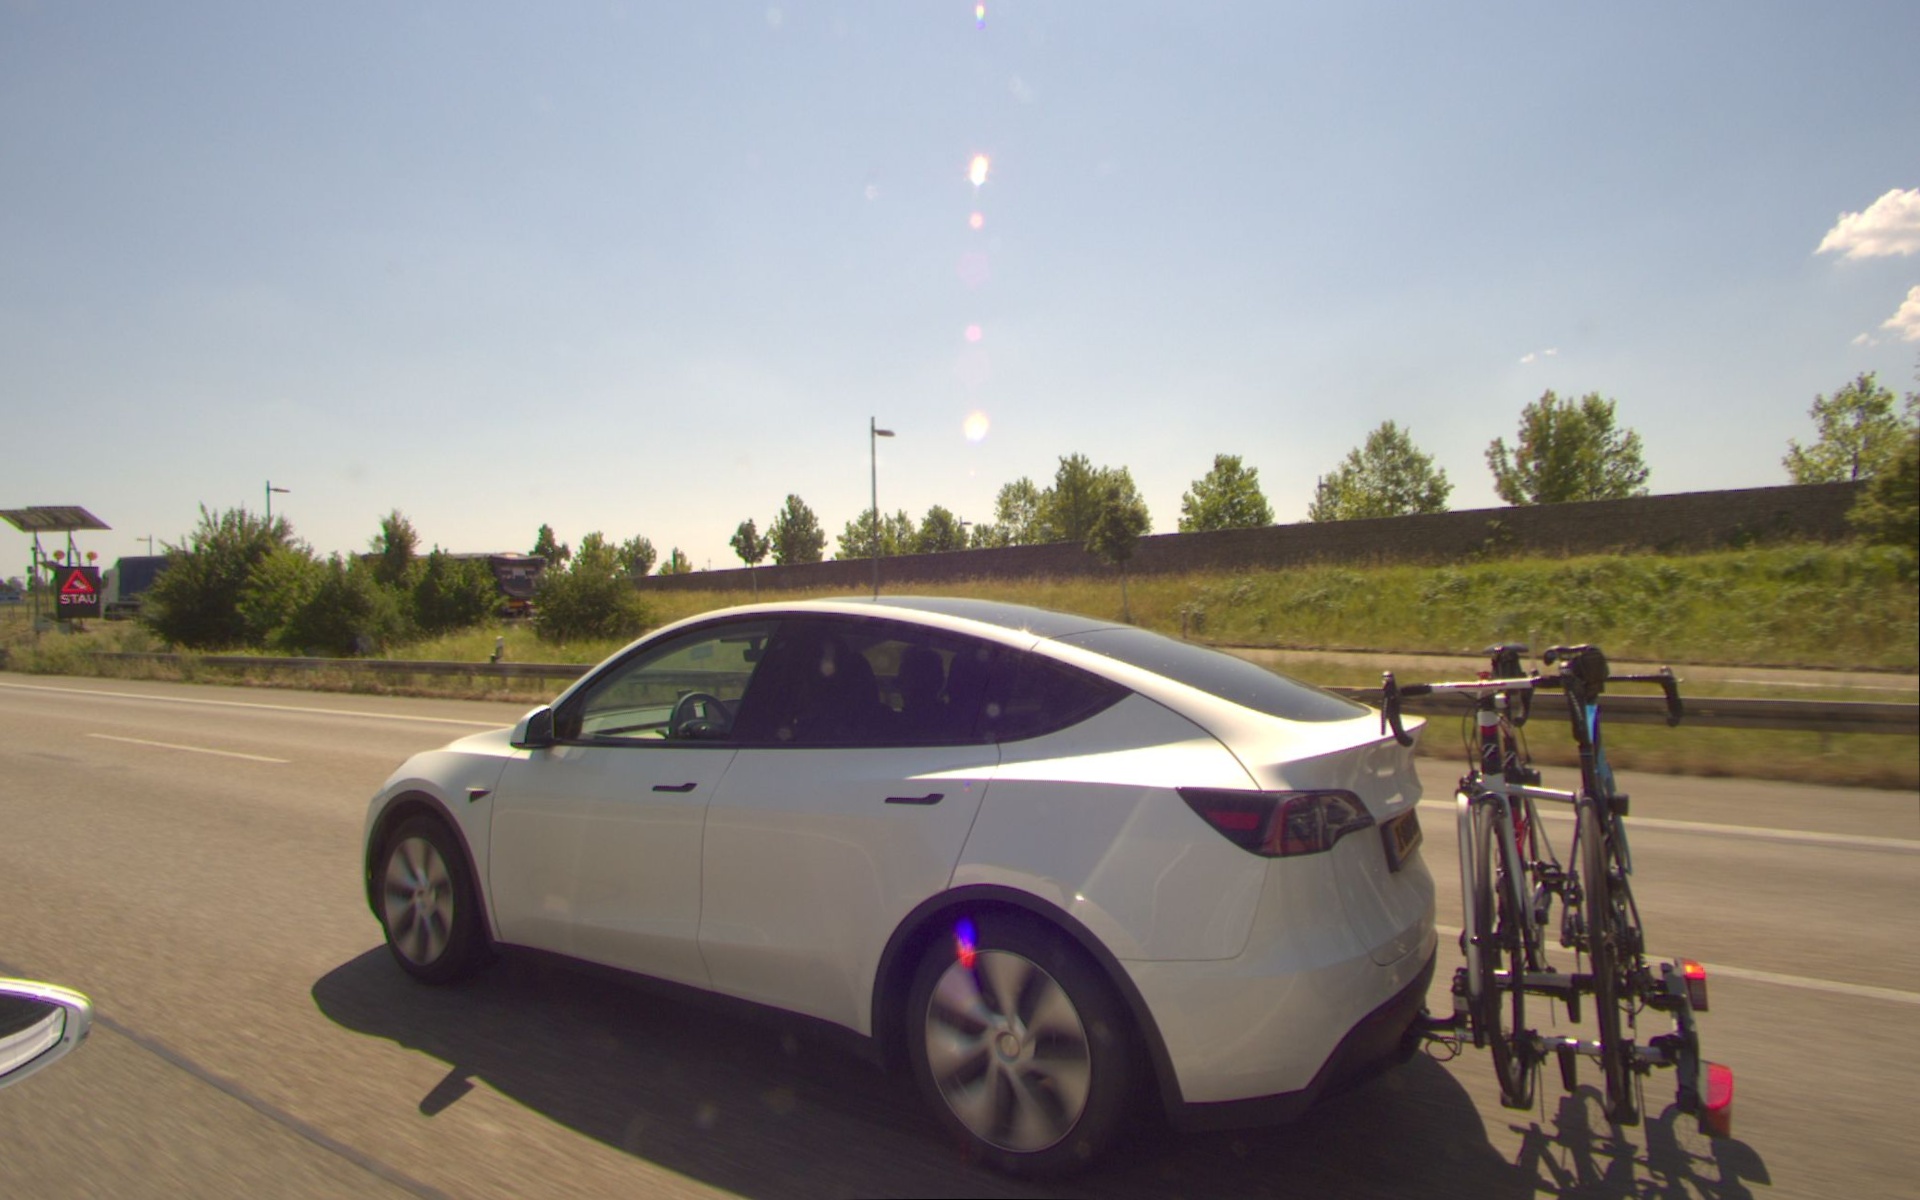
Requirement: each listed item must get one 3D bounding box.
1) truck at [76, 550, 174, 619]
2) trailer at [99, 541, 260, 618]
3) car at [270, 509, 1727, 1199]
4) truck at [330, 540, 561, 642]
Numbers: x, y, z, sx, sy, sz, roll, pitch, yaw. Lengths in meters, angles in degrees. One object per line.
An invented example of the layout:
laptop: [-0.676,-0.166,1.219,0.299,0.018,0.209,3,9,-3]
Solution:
truck: [-54.166,-0.923,64.956,6.306,4.135,3.048,-1,-2,32]
trailer: [-47.769,-1.069,61.045,14.053,4.135,3.048,-1,-2,32]
car: [-0.439,0.747,4.122,5.521,1.657,1.947,-1,-2,32]
truck: [-23.756,-0.179,45.847,12.343,4.135,3.781,-1,-2,33]
